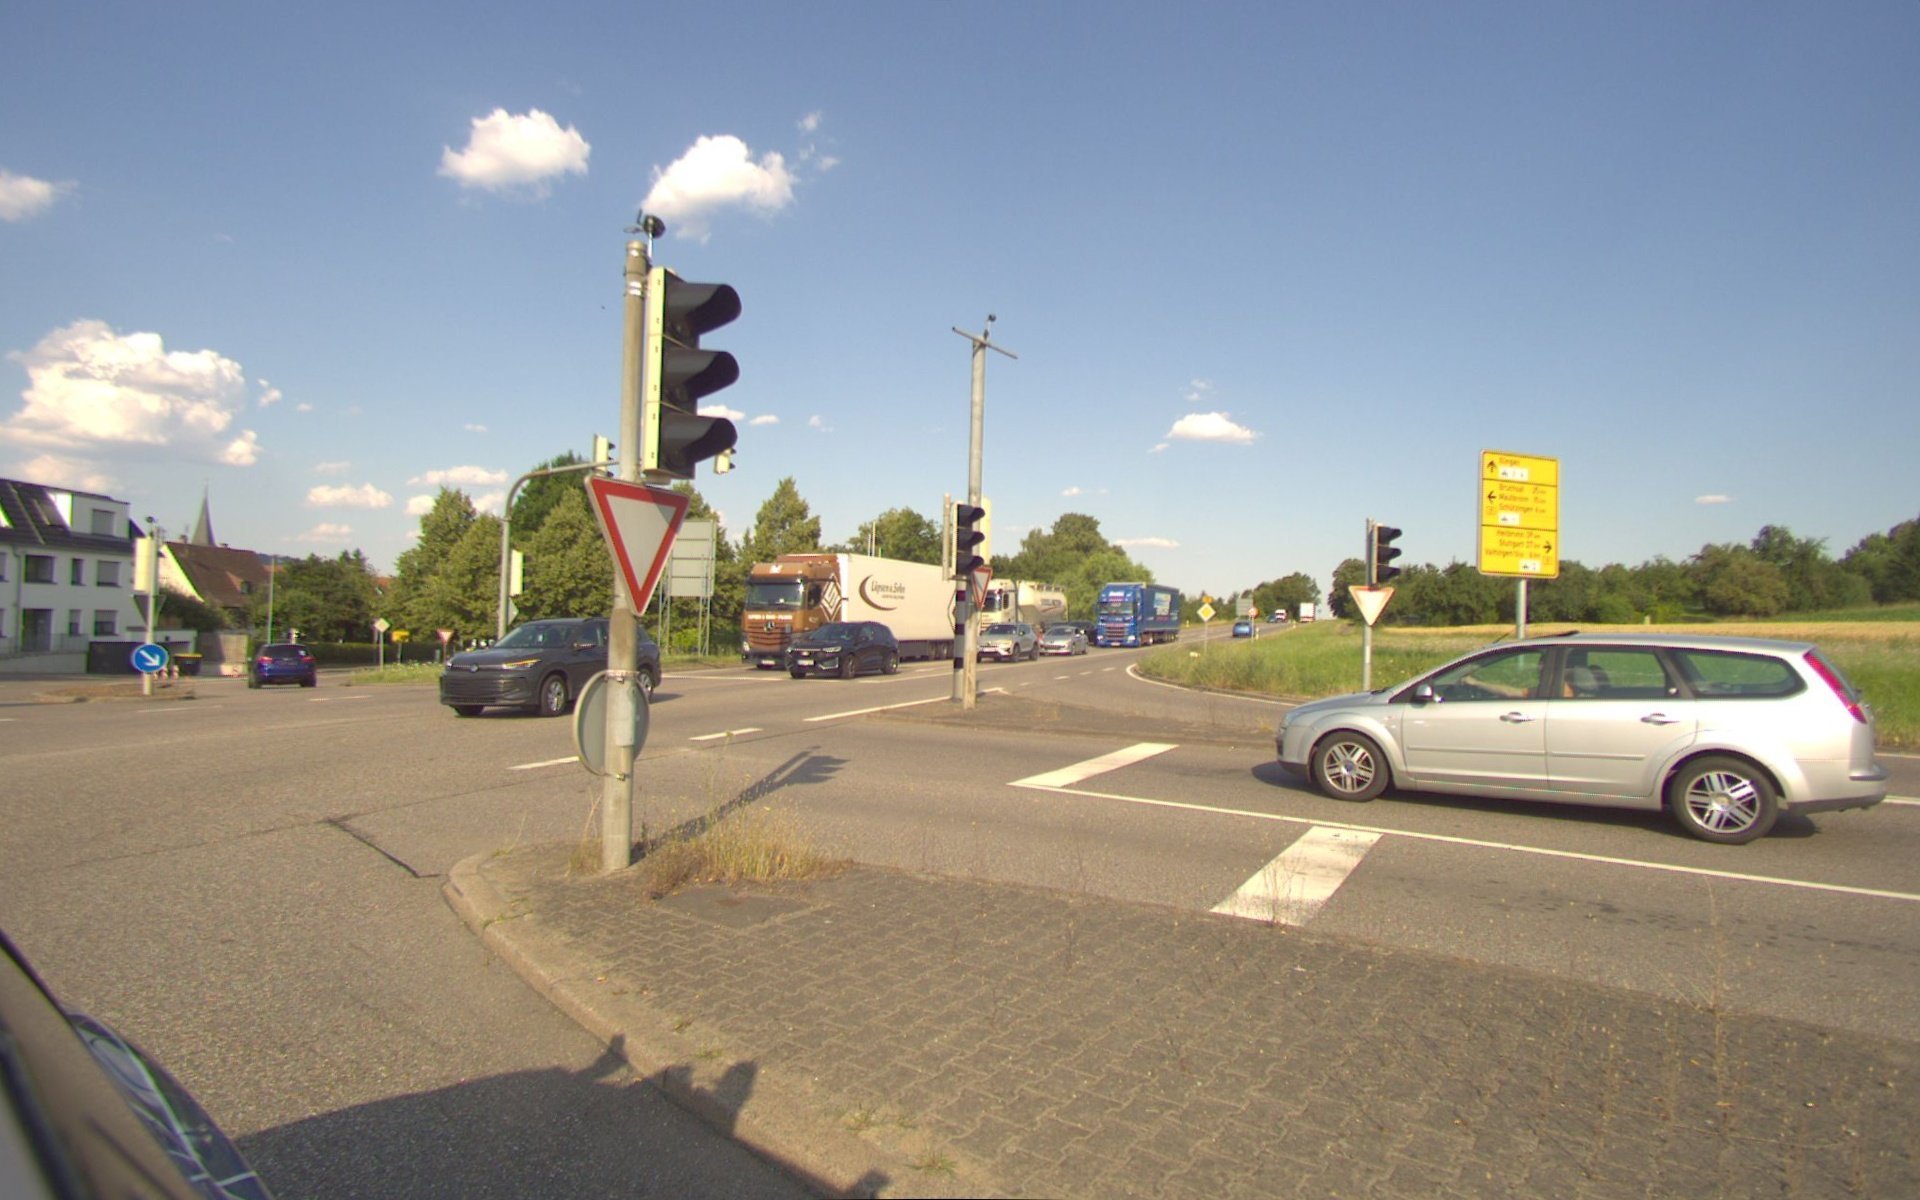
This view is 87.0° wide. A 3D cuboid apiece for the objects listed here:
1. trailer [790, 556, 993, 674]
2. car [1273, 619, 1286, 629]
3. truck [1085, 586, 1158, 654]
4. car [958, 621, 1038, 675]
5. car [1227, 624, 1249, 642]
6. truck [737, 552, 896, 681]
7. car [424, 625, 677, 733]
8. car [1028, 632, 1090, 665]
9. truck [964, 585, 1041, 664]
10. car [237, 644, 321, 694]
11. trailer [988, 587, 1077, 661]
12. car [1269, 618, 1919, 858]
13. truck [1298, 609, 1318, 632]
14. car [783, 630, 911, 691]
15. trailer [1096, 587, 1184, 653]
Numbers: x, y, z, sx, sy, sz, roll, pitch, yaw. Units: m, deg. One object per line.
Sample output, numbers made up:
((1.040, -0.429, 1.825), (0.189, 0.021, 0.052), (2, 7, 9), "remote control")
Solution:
((-2.256, 0.771, 42.038), (2.523, 4.098, 14.229), (-2, -2, 22), "trailer")
((65.143, 4.866, 206.488), (1.989, 2.029, 3.965), (-2, -2, 25), "car")
((10.202, 1.273, 63.387), (3.353, 4.035, 5.561), (-1, -2, 22), "truck")
((1.603, 1.904, 41.182), (1.895, 1.962, 4.341), (-2, -1, 21), "car")
((24.327, 2.904, 88.486), (1.749, 1.512, 3.978), (0, -2, 16), "car")
((-4.836, 0.617, 35.520), (2.523, 4.074, 6.611), (-2, -2, 22), "truck")
((-7.002, 1.283, 17.873), (1.774, 1.641, 4.443), (-1, -2, 17), "car")
((4.902, 2.350, 49.596), (1.986, 1.497, 3.971), (-1, -2, 21), "car")
((2.271, 1.263, 52.034), (2.247, 3.834, 5.645), (-1, -2, 21), "truck")
((-23.184, 2.369, 34.408), (1.766, 1.509, 4.307), (0, -4, -42), "car")
((4.277, 1.411, 57.172), (2.250, 3.806, 9.456), (-2, -2, 21), "trailer")
((5.090, 1.025, 8.542), (4.348, 1.540, 1.797), (-4, -4, 39), "car")
((71.871, 4.318, 209.038), (3.428, 4.531, 9.418), (-1, -2, 21), "truck")
((-3.190, 1.700, 29.540), (1.765, 1.625, 4.512), (-2, -2, 23), "car")
((12.679, 1.441, 69.915), (3.395, 4.035, 13.650), (-1, -2, 21), "trailer")
